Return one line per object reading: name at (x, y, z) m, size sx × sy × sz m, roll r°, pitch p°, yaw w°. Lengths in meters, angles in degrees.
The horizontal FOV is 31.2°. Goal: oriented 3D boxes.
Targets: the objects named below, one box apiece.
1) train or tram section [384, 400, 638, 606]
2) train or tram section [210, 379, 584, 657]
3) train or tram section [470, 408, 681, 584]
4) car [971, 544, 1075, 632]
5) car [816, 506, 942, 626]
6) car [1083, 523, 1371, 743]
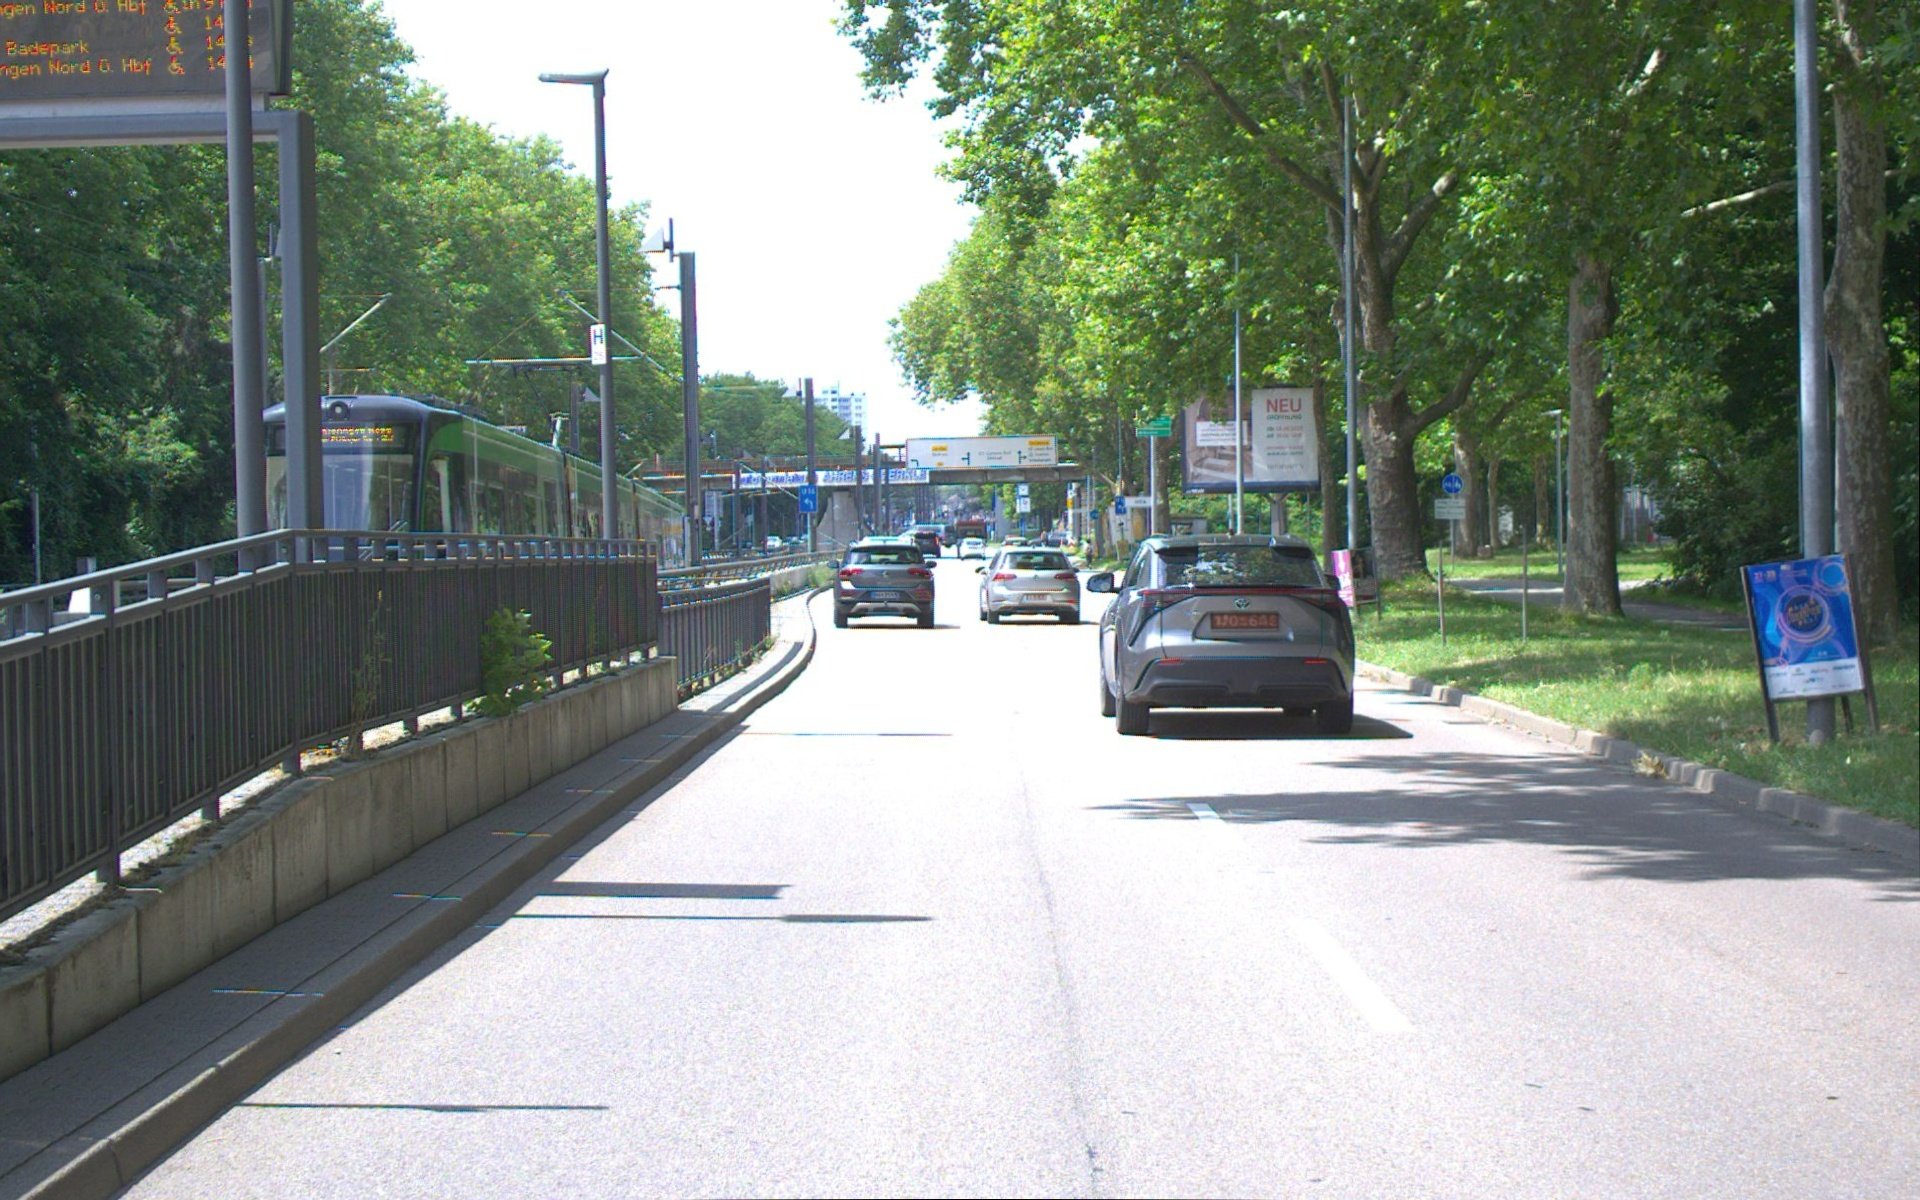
train or tram section at (-7.479, -1.608, 58.609) m, size 3.037 × 3.175 × 9.447 m, roll -1°, pitch 1°, yaw 0°
train or tram section at (-7.309, -1.084, 46.983) m, size 3.037 × 3.175 × 14.102 m, roll -1°, pitch 1°, yaw -1°
train or tram section at (-7.425, -1.985, 67.653) m, size 3.037 × 3.175 × 9.447 m, roll -1°, pitch 1°, yaw 0°
car at (1.177, -0.257, 65.927) m, size 1.831 × 1.624 × 4.296 m, roll 0°, pitch 1°, yaw -1°
car at (-1.422, -0.659, 62.098) m, size 1.993 × 1.982 × 4.363 m, roll 0°, pitch 3°, yaw 2°
car at (2.118, 0.198, 28.495) m, size 1.897 × 1.669 × 4.520 m, roll 0°, pitch 1°, yaw -2°
